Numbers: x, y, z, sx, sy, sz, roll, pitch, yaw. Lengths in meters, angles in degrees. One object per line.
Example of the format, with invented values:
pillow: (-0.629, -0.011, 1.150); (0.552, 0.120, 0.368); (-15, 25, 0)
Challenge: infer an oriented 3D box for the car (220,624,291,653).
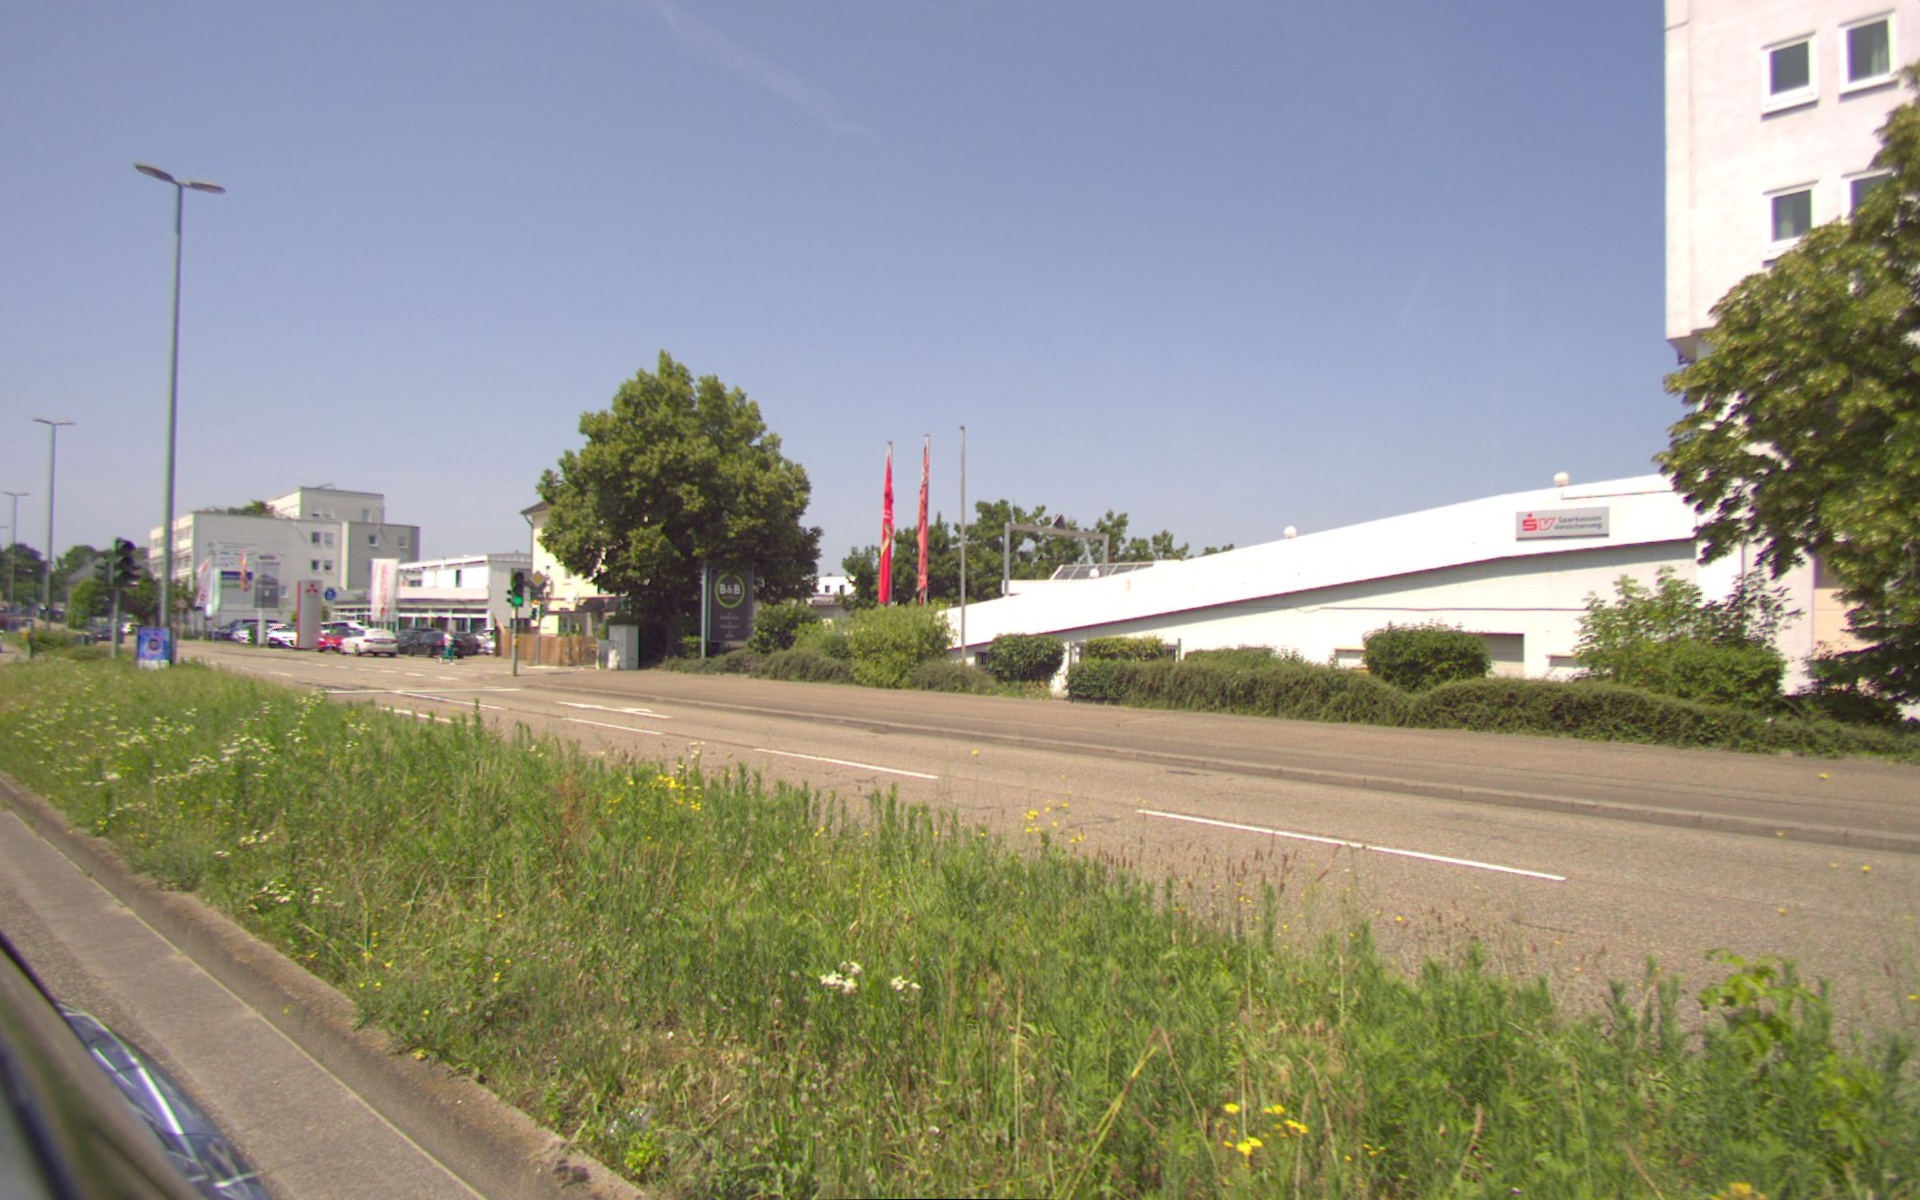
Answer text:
car: (-53.591, 2.935, 76.994); (1.760, 1.579, 3.945); (-1, -12, 43)

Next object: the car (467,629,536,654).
car: (-31.778, 2.873, 70.236); (1.866, 1.627, 3.942); (-1, -3, 44)

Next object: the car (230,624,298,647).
car: (-51.754, 2.631, 75.288); (3.939, 1.621, 1.927); (3, -3, -43)

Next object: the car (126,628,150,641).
car: (-94.448, 3.911, 116.221); (3.666, 1.460, 1.672); (-1, -3, 44)

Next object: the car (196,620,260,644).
car: (-60.133, 2.632, 83.202); (2.000, 1.896, 3.943); (-1, -3, 43)

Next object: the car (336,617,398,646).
car: (-31.612, 1.671, 53.912); (1.755, 1.421, 4.763); (4, -4, -43)

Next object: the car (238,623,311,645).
car: (-48.189, 2.396, 71.205); (1.760, 1.478, 3.943); (-1, -3, 43)

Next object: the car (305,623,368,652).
car: (-37.358, 2.255, 60.724); (1.810, 1.655, 4.187); (1, -2, -11)

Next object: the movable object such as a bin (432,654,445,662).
movable object such as a bin: (-25.414, 2.830, 49.320); (0.411, 0.375, 0.507); (3, -3, -44)

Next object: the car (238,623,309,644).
car: (-49.520, 2.424, 73.028); (1.860, 1.405, 3.943); (-1, -3, 43)

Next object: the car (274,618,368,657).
car: (-40.098, 2.309, 63.590); (1.759, 1.721, 4.501); (-1, 7, 42)

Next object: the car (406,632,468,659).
car: (-28.611, 2.477, 55.354); (3.999, 1.361, 1.714); (-1, -3, 42)

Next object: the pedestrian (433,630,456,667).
pedestrian: (-25.082, 2.362, 49.244); (0.732, 1.760, 1.034); (3, -3, -43)

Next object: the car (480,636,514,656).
car: (-30.785, 3.057, 67.358); (1.622, 1.261, 4.012); (2, -2, -19)

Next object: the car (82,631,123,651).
car: (-65.725, 3.144, 77.553); (4.503, 1.497, 1.971); (-1, -3, 45)

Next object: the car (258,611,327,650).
car: (-45.793, 2.058, 69.485); (1.737, 1.633, 4.001); (1, 13, 4)

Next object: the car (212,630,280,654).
car: (-55.872, 3.317, 79.200); (1.760, 1.620, 3.943); (-1, -6, 43)
